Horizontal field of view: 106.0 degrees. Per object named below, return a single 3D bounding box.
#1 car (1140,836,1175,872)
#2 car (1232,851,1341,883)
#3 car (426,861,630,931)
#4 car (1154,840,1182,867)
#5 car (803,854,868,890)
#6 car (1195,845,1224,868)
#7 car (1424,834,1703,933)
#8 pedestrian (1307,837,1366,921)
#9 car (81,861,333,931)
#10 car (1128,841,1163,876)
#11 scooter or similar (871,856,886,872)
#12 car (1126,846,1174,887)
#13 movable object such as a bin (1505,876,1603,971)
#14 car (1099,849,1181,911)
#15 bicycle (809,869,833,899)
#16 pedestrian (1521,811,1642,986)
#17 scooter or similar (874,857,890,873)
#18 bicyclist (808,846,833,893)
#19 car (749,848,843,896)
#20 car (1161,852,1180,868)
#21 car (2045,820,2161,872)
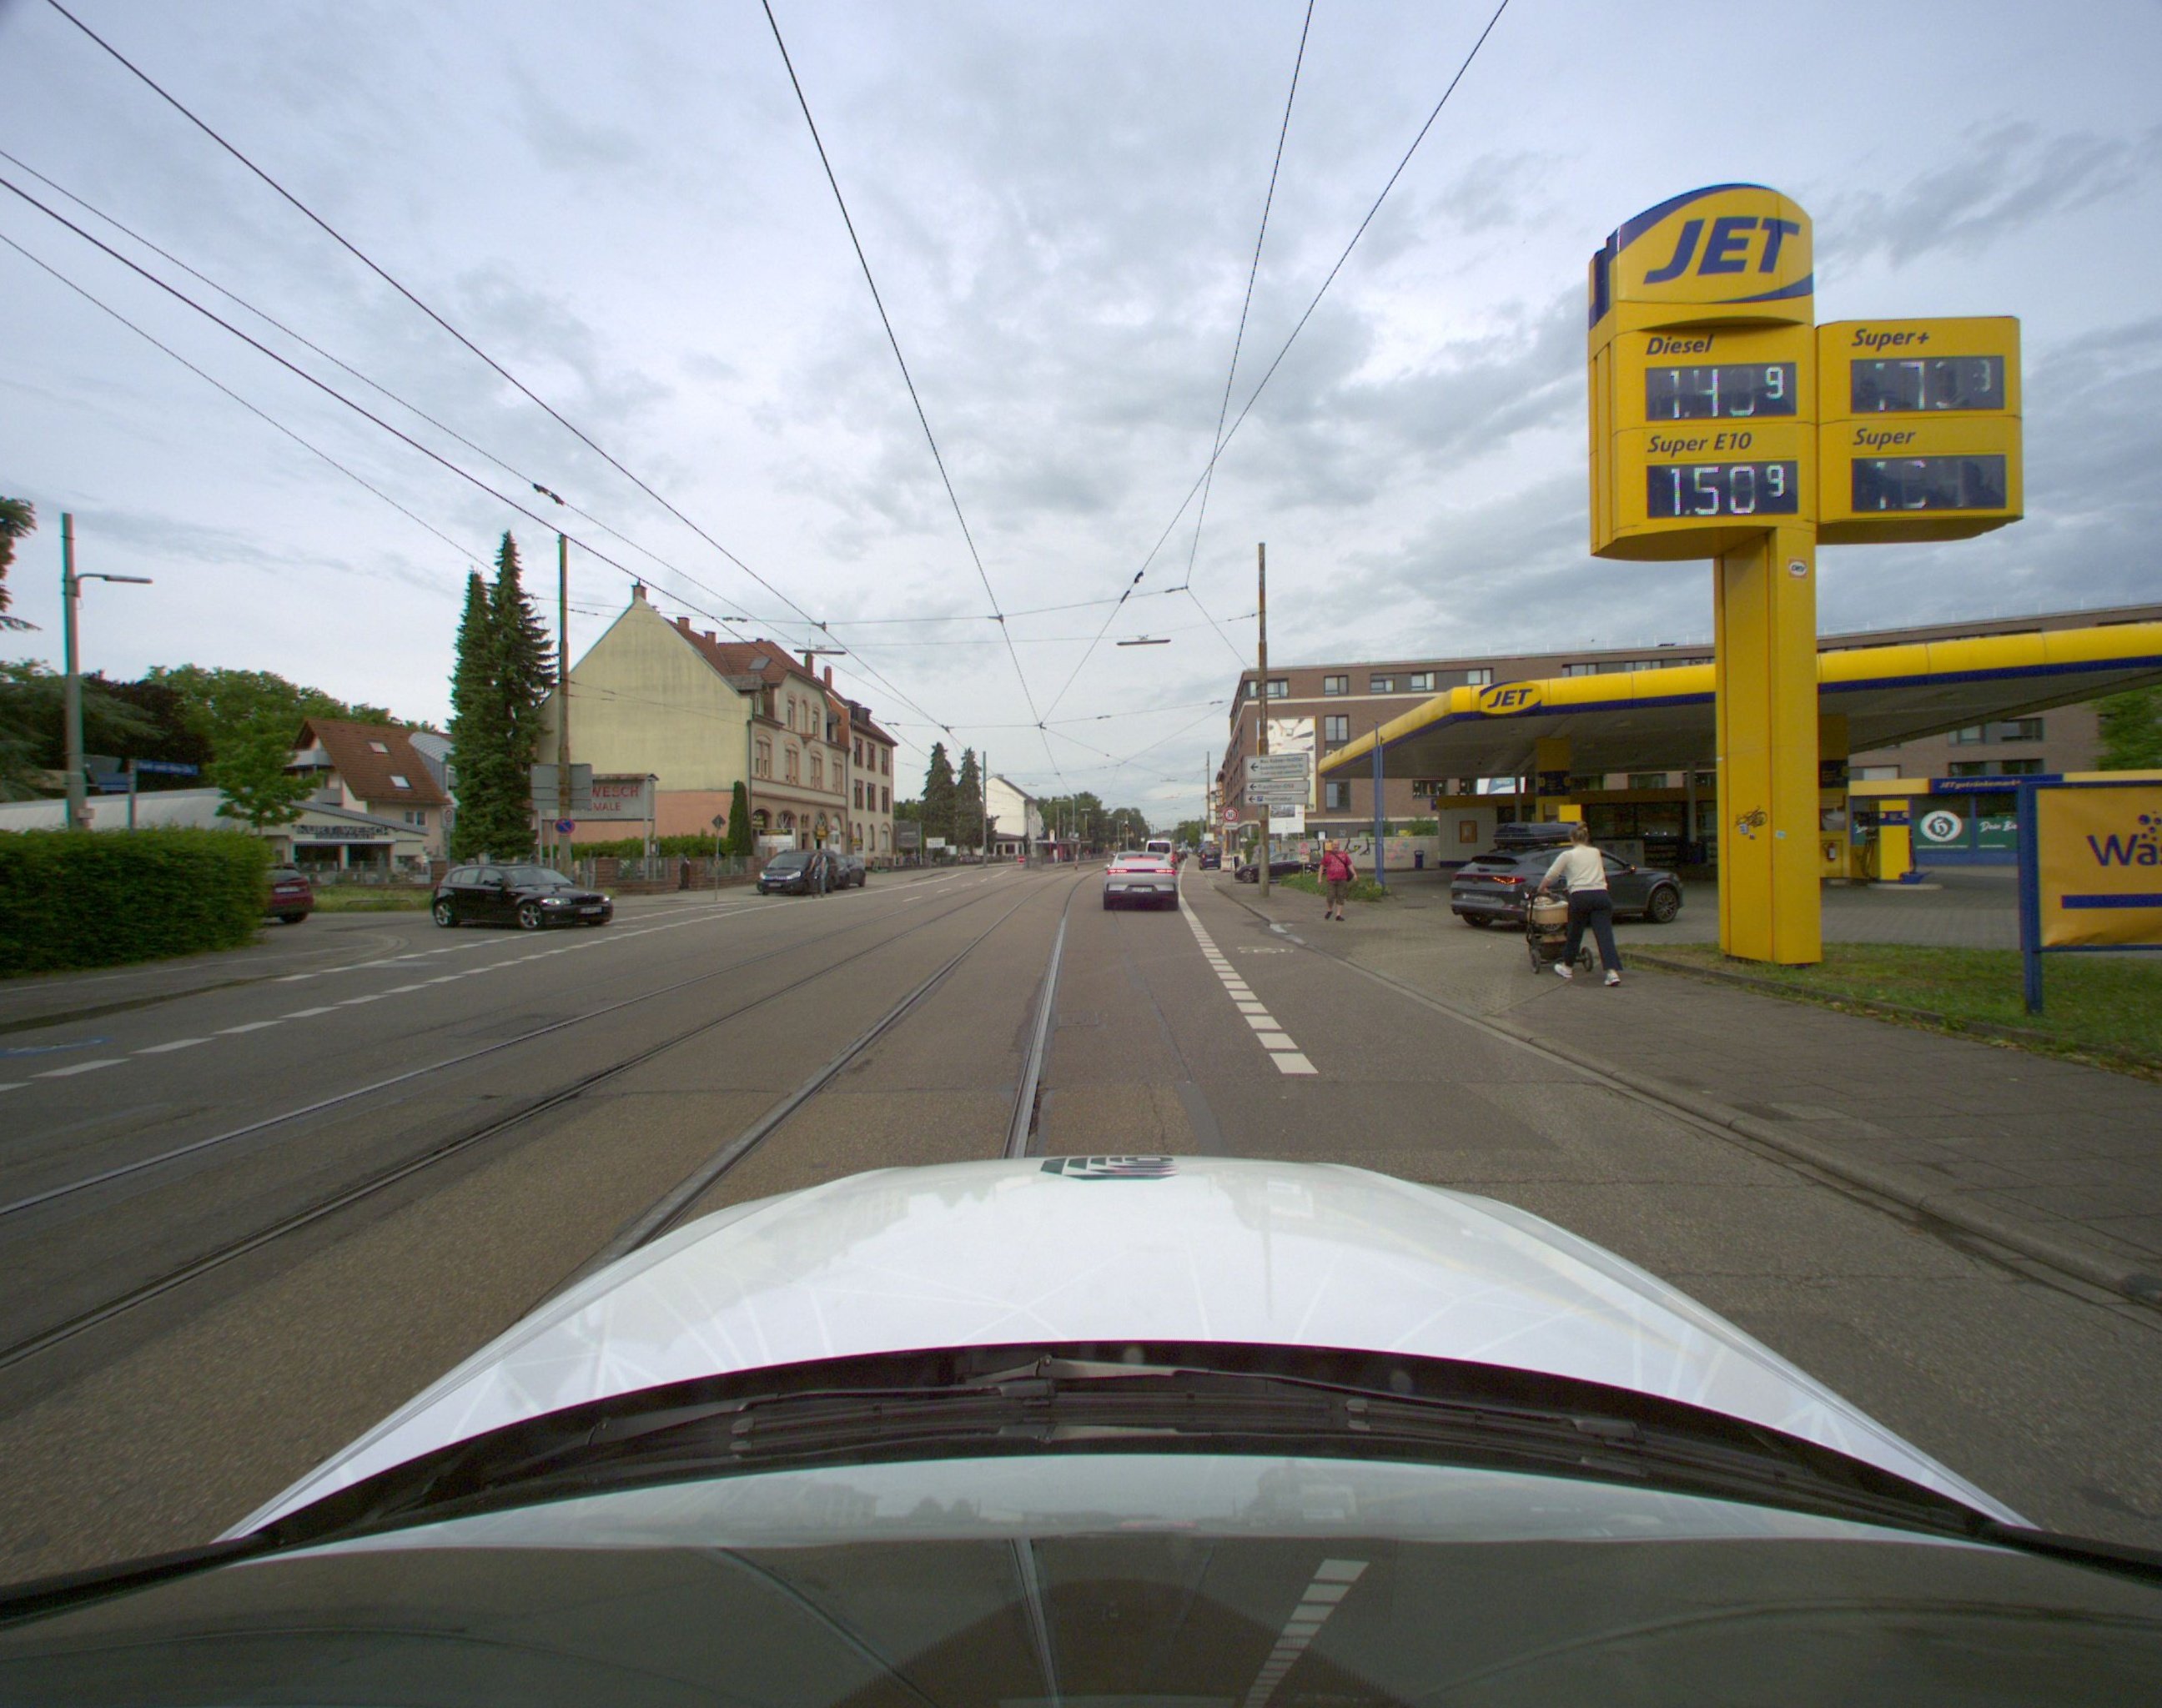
[{"bbox_3d":[5.406,0.007,58.185,2.208,2.423,4.954,0,0,2],"label":"car"},{"bbox_3d":[9.819,0.620,38.951,4.828,1.427,1.963,-1,0,21],"label":"car"},{"bbox_3d":[-12.253,0.883,18.076,3.886,1.388,1.811,-1,0,20],"label":"car"},{"bbox_3d":[7.170,0.012,67.522,2.130,2.145,4.747,0,0,3],"label":"car"},{"bbox_3d":[-12.164,0.857,40.701,1.837,1.718,4.195,0,0,2],"label":"car"},{"bbox_3d":[10.422,0.192,66.177,1.867,1.823,4.099,0,0,3],"label":"car"},{"bbox_3d":[8.912,0.475,15.153,4.319,1.497,1.987,-3,1,-15],"label":"car"},{"bbox_3d":[5.553,0.525,17.742,0.968,1.738,0.862,-3,-1,3],"label":"pedestrian"},{"bbox_3d":[-19.533,0.907,18.334,3.697,1.417,1.768,0,2,0],"label":"car"},{"bbox_3d":[3.892,0.264,49.507,1.985,2.014,4.004,0,0,3],"label":"car"},{"bbox_3d":[-15.301,0.749,61.420,1.056,1.188,0.315,1,-1,-32],"label":"scooter or similar"},{"bbox_3d":[3.066,0.551,36.858,1.961,1.756,3.839,0,0,1],"label":"car"},{"bbox_3d":[5.769,0.832,9.995,0.762,1.039,1.028,-4,-1,16],"label":"movable object such as a bin"},{"bbox_3d":[1.544,0.657,22.621,1.975,1.550,4.183,0,0,0],"label":"car"},{"bbox_3d":[-10.041,1.127,31.464,0.587,1.074,1.950,-2,0,-10],"label":"bicycle"},{"bbox_3d":[5.539,0.471,9.094,0.762,1.797,1.167,-4,-1,16],"label":"pedestrian"},{"bbox_3d":[-14.904,0.794,60.970,1.056,1.188,0.315,1,-1,-32],"label":"scooter or similar"},{"bbox_3d":[-10.080,0.593,31.578,0.735,1.749,0.975,-2,0,-10],"label":"bicyclist"},{"bbox_3d":[-11.988,0.735,34.607,1.984,1.887,5.002,0,0,3],"label":"car"},{"bbox_3d":[11.729,0.750,106.921,1.987,2.014,3.999,0,0,0],"label":"car"},{"bbox_3d":[35.989,-0.235,27.893,1.818,1.638,4.501,0,0,20],"label":"car"}]
